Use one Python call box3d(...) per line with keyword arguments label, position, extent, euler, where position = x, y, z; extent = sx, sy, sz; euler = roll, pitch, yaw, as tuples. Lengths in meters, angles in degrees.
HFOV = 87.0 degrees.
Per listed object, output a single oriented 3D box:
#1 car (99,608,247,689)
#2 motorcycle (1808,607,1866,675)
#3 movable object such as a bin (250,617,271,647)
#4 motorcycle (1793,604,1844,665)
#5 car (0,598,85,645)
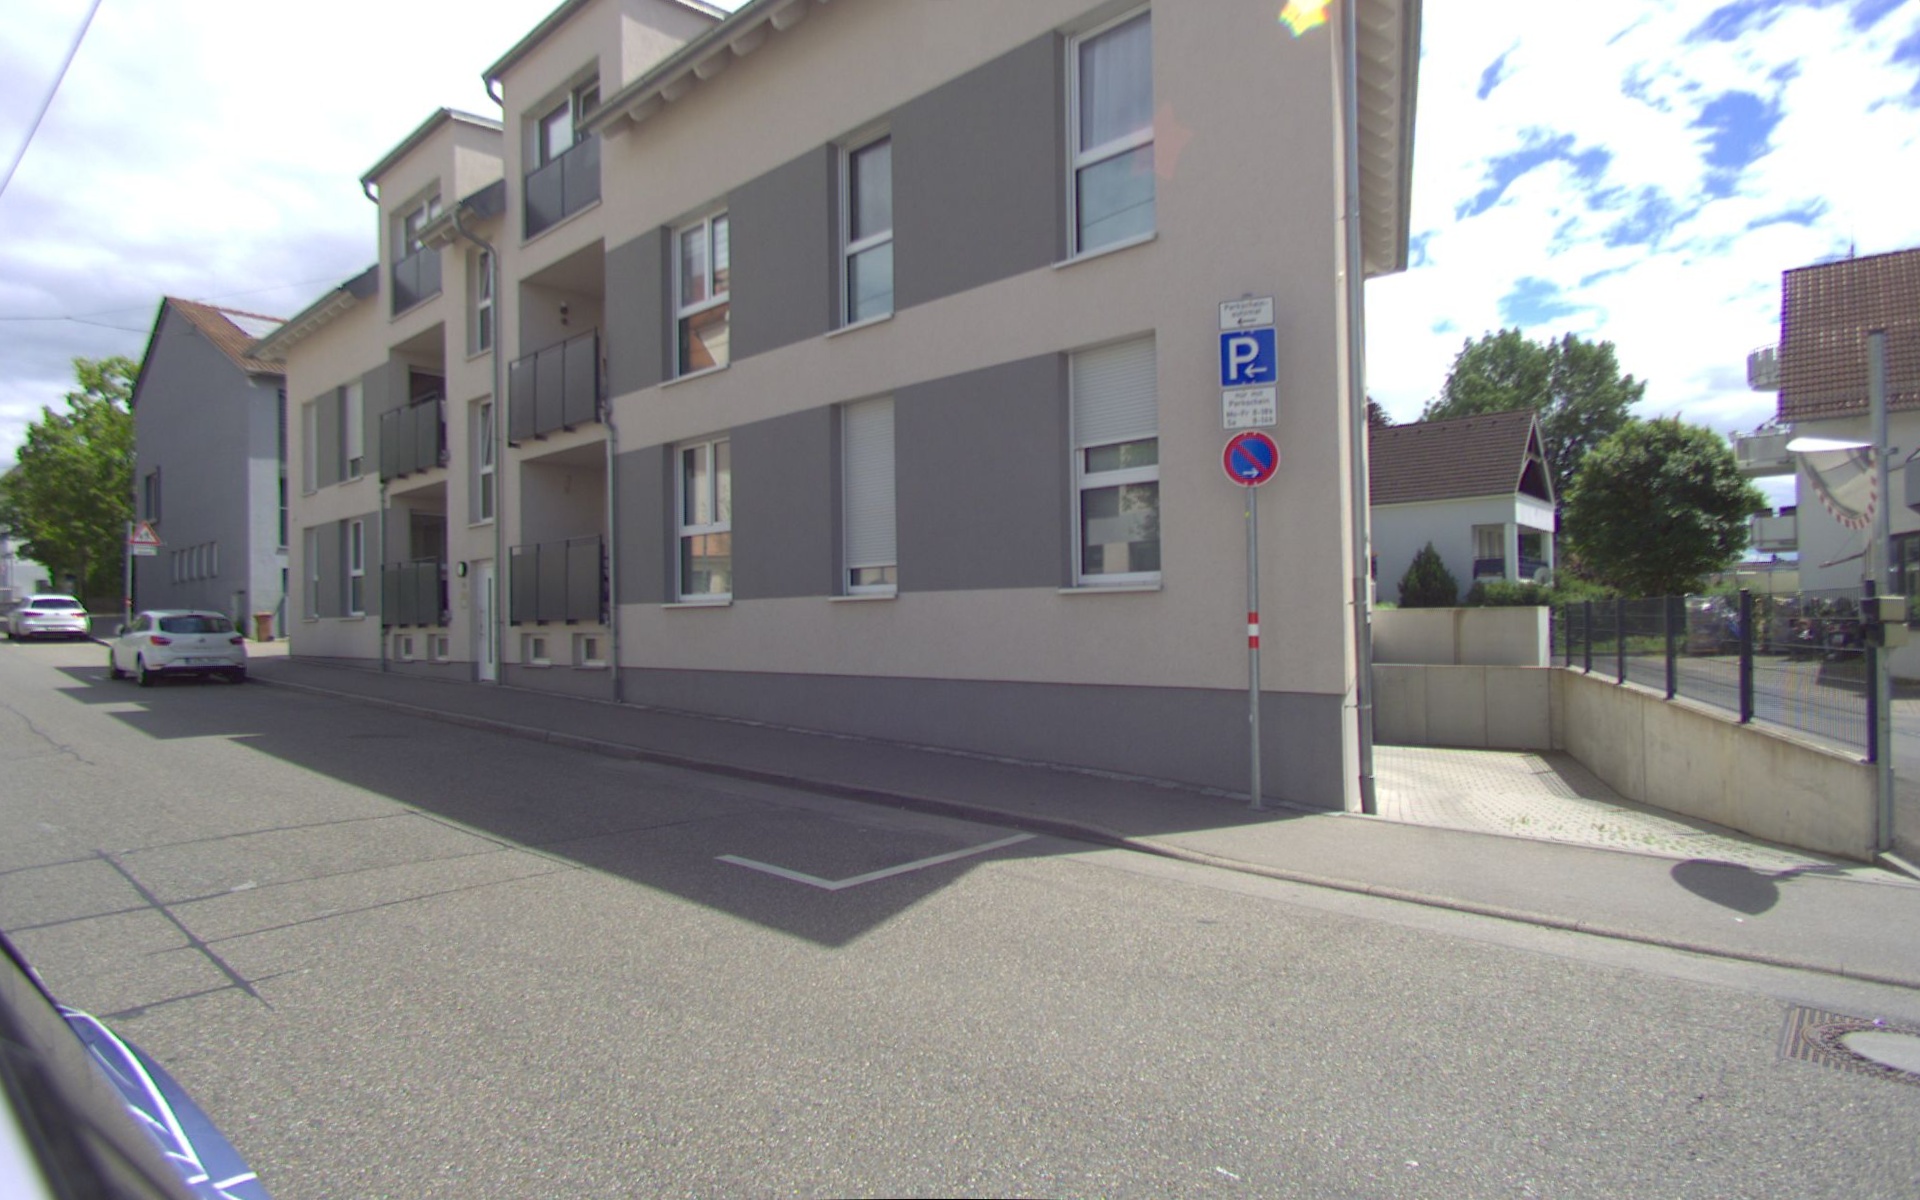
box3d(label="car", position=(-15.762, 0.931, 20.206), extent=(3.697, 1.429, 1.629), euler=(1, -2, 42))
box3d(label="motorcycle", position=(19.647, 0.877, 22.699), extent=(0.927, 1.372, 2.141), euler=(0, 1, 40))
box3d(label="movable object such as a bin", position=(-22.338, 1.027, 32.329), extent=(0.399, 0.936, 0.449), euler=(1, -1, 41))
box3d(label="motorcycle", position=(21.140, 0.812, 24.959), extent=(0.927, 1.372, 2.141), euler=(0, 1, 40))
box3d(label="car", position=(-28.994, 0.664, 31.925), extent=(3.866, 1.401, 1.679), euler=(-1, -1, 43))
